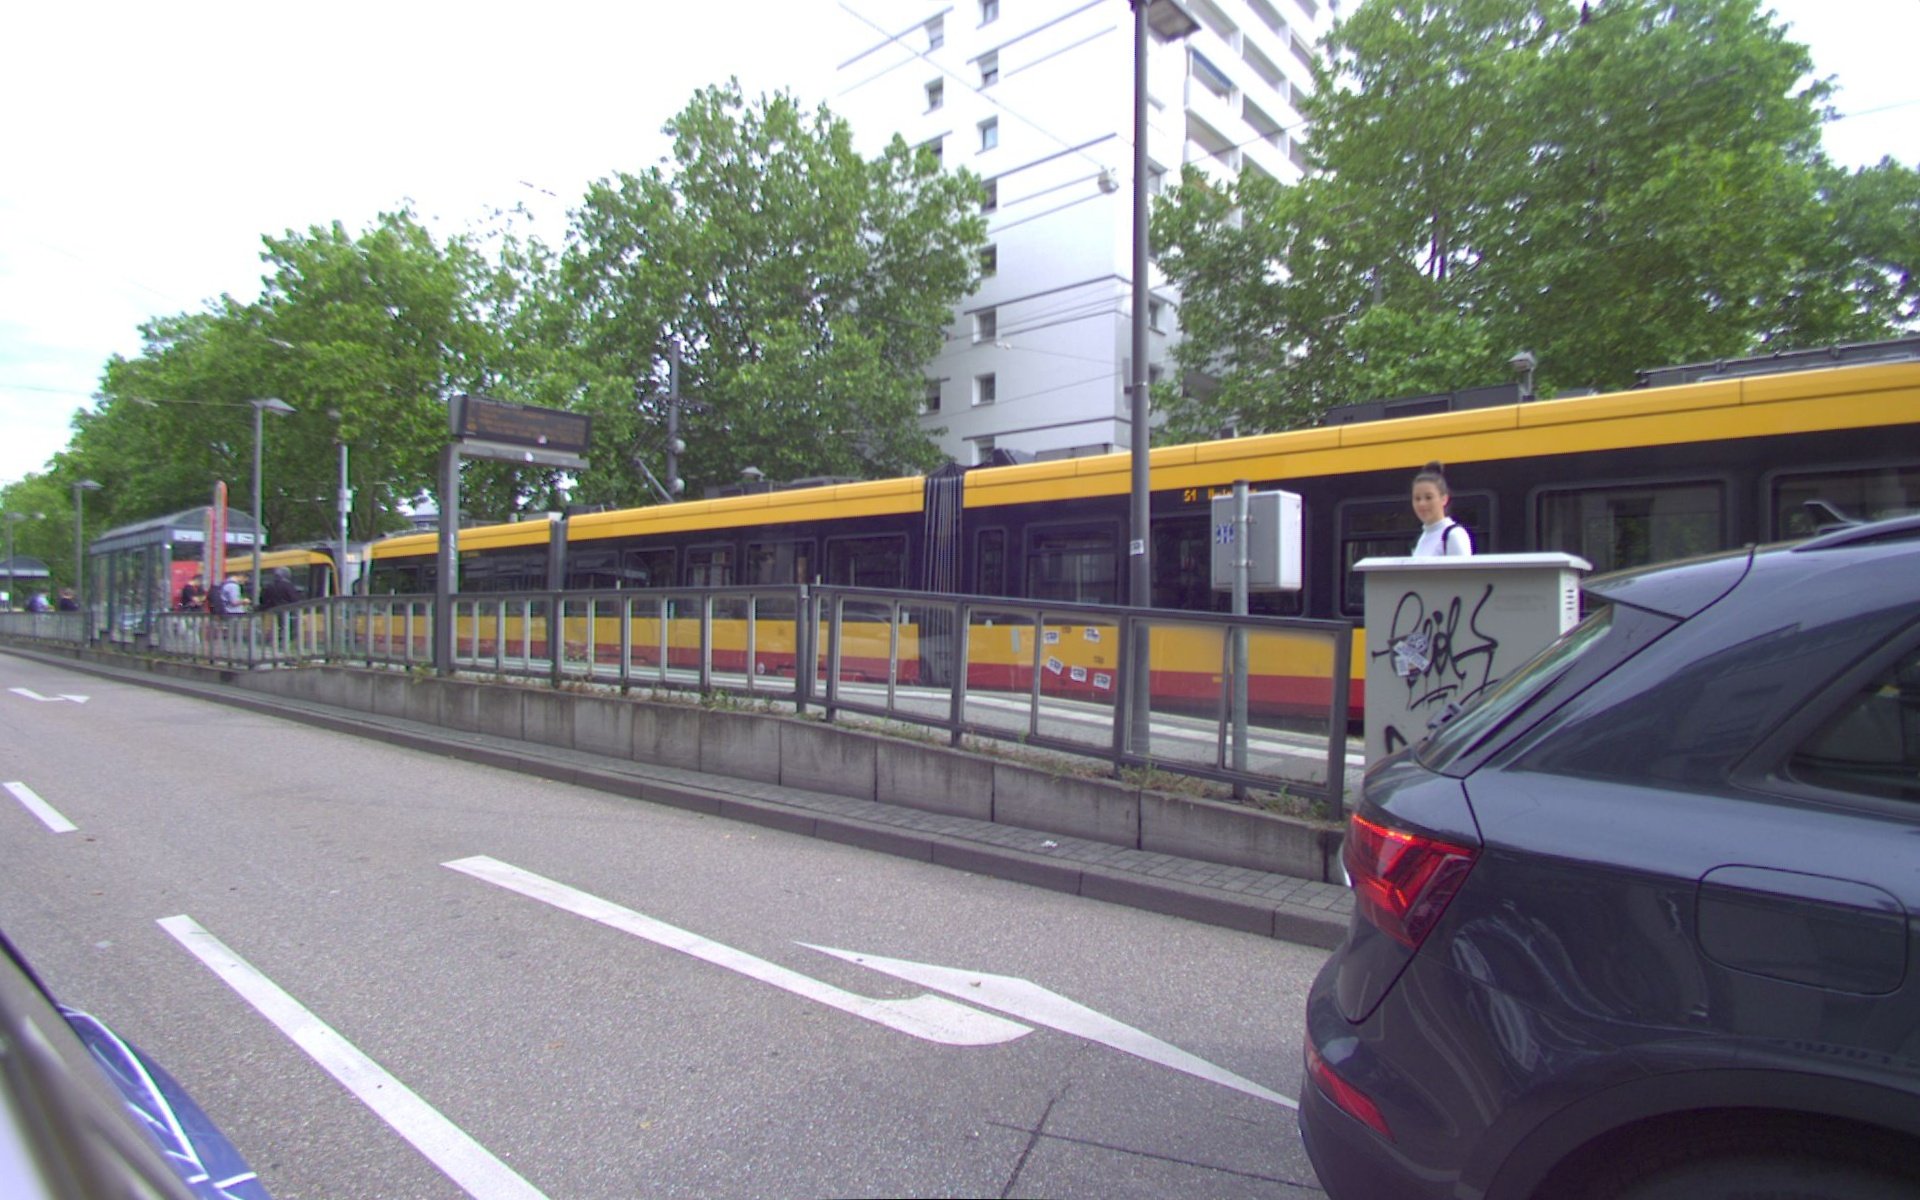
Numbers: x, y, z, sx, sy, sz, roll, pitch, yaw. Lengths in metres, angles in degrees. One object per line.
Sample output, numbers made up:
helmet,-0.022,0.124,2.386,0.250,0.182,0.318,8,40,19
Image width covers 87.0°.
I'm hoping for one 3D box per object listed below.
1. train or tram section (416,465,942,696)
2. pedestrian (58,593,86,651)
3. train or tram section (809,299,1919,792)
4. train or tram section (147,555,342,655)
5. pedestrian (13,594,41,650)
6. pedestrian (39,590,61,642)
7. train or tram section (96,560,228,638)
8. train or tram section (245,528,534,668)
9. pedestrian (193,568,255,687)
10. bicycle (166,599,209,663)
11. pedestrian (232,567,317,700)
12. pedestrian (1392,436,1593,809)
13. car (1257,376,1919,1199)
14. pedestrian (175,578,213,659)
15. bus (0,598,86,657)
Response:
train or tram section,-7.058,-0.271,21.807,15.287,3.558,3.028,0,0,41
pedestrian,-25.386,0.627,28.928,0.730,1.645,0.506,-1,0,42
train or tram section,4.629,-0.388,11.542,15.841,3.615,3.028,0,0,41
train or tram section,-30.210,0.199,42.153,15.764,3.558,3.028,0,0,41
pedestrian,-34.329,0.813,37.227,0.587,2.029,0.668,-1,0,38
pedestrian,-28.940,0.498,32.172,0.392,1.645,0.474,-1,0,42
train or tram section,-40.819,-0.017,51.527,12.534,3.588,3.060,0,0,41
train or tram section,-18.548,-0.022,31.917,15.287,3.558,3.028,0,0,41
pedestrian,-12.919,0.460,17.783,0.742,2.029,0.821,-1,0,-26
bicycle,-15.313,0.602,20.057,1.289,1.231,0.414,-1,0,41
pedestrian,-10.765,0.514,15.912,0.808,2.029,0.754,-1,0,4
pedestrian,2.666,0.099,5.056,0.730,1.674,0.746,-1,0,41
car,2.755,0.536,1.015,4.354,1.613,1.861,-1,0,40
pedestrian,-15.983,0.378,21.110,0.471,1.645,0.526,-1,0,39
bus,-33.677,0.963,37.065,3.998,2.029,1.973,0,0,41
